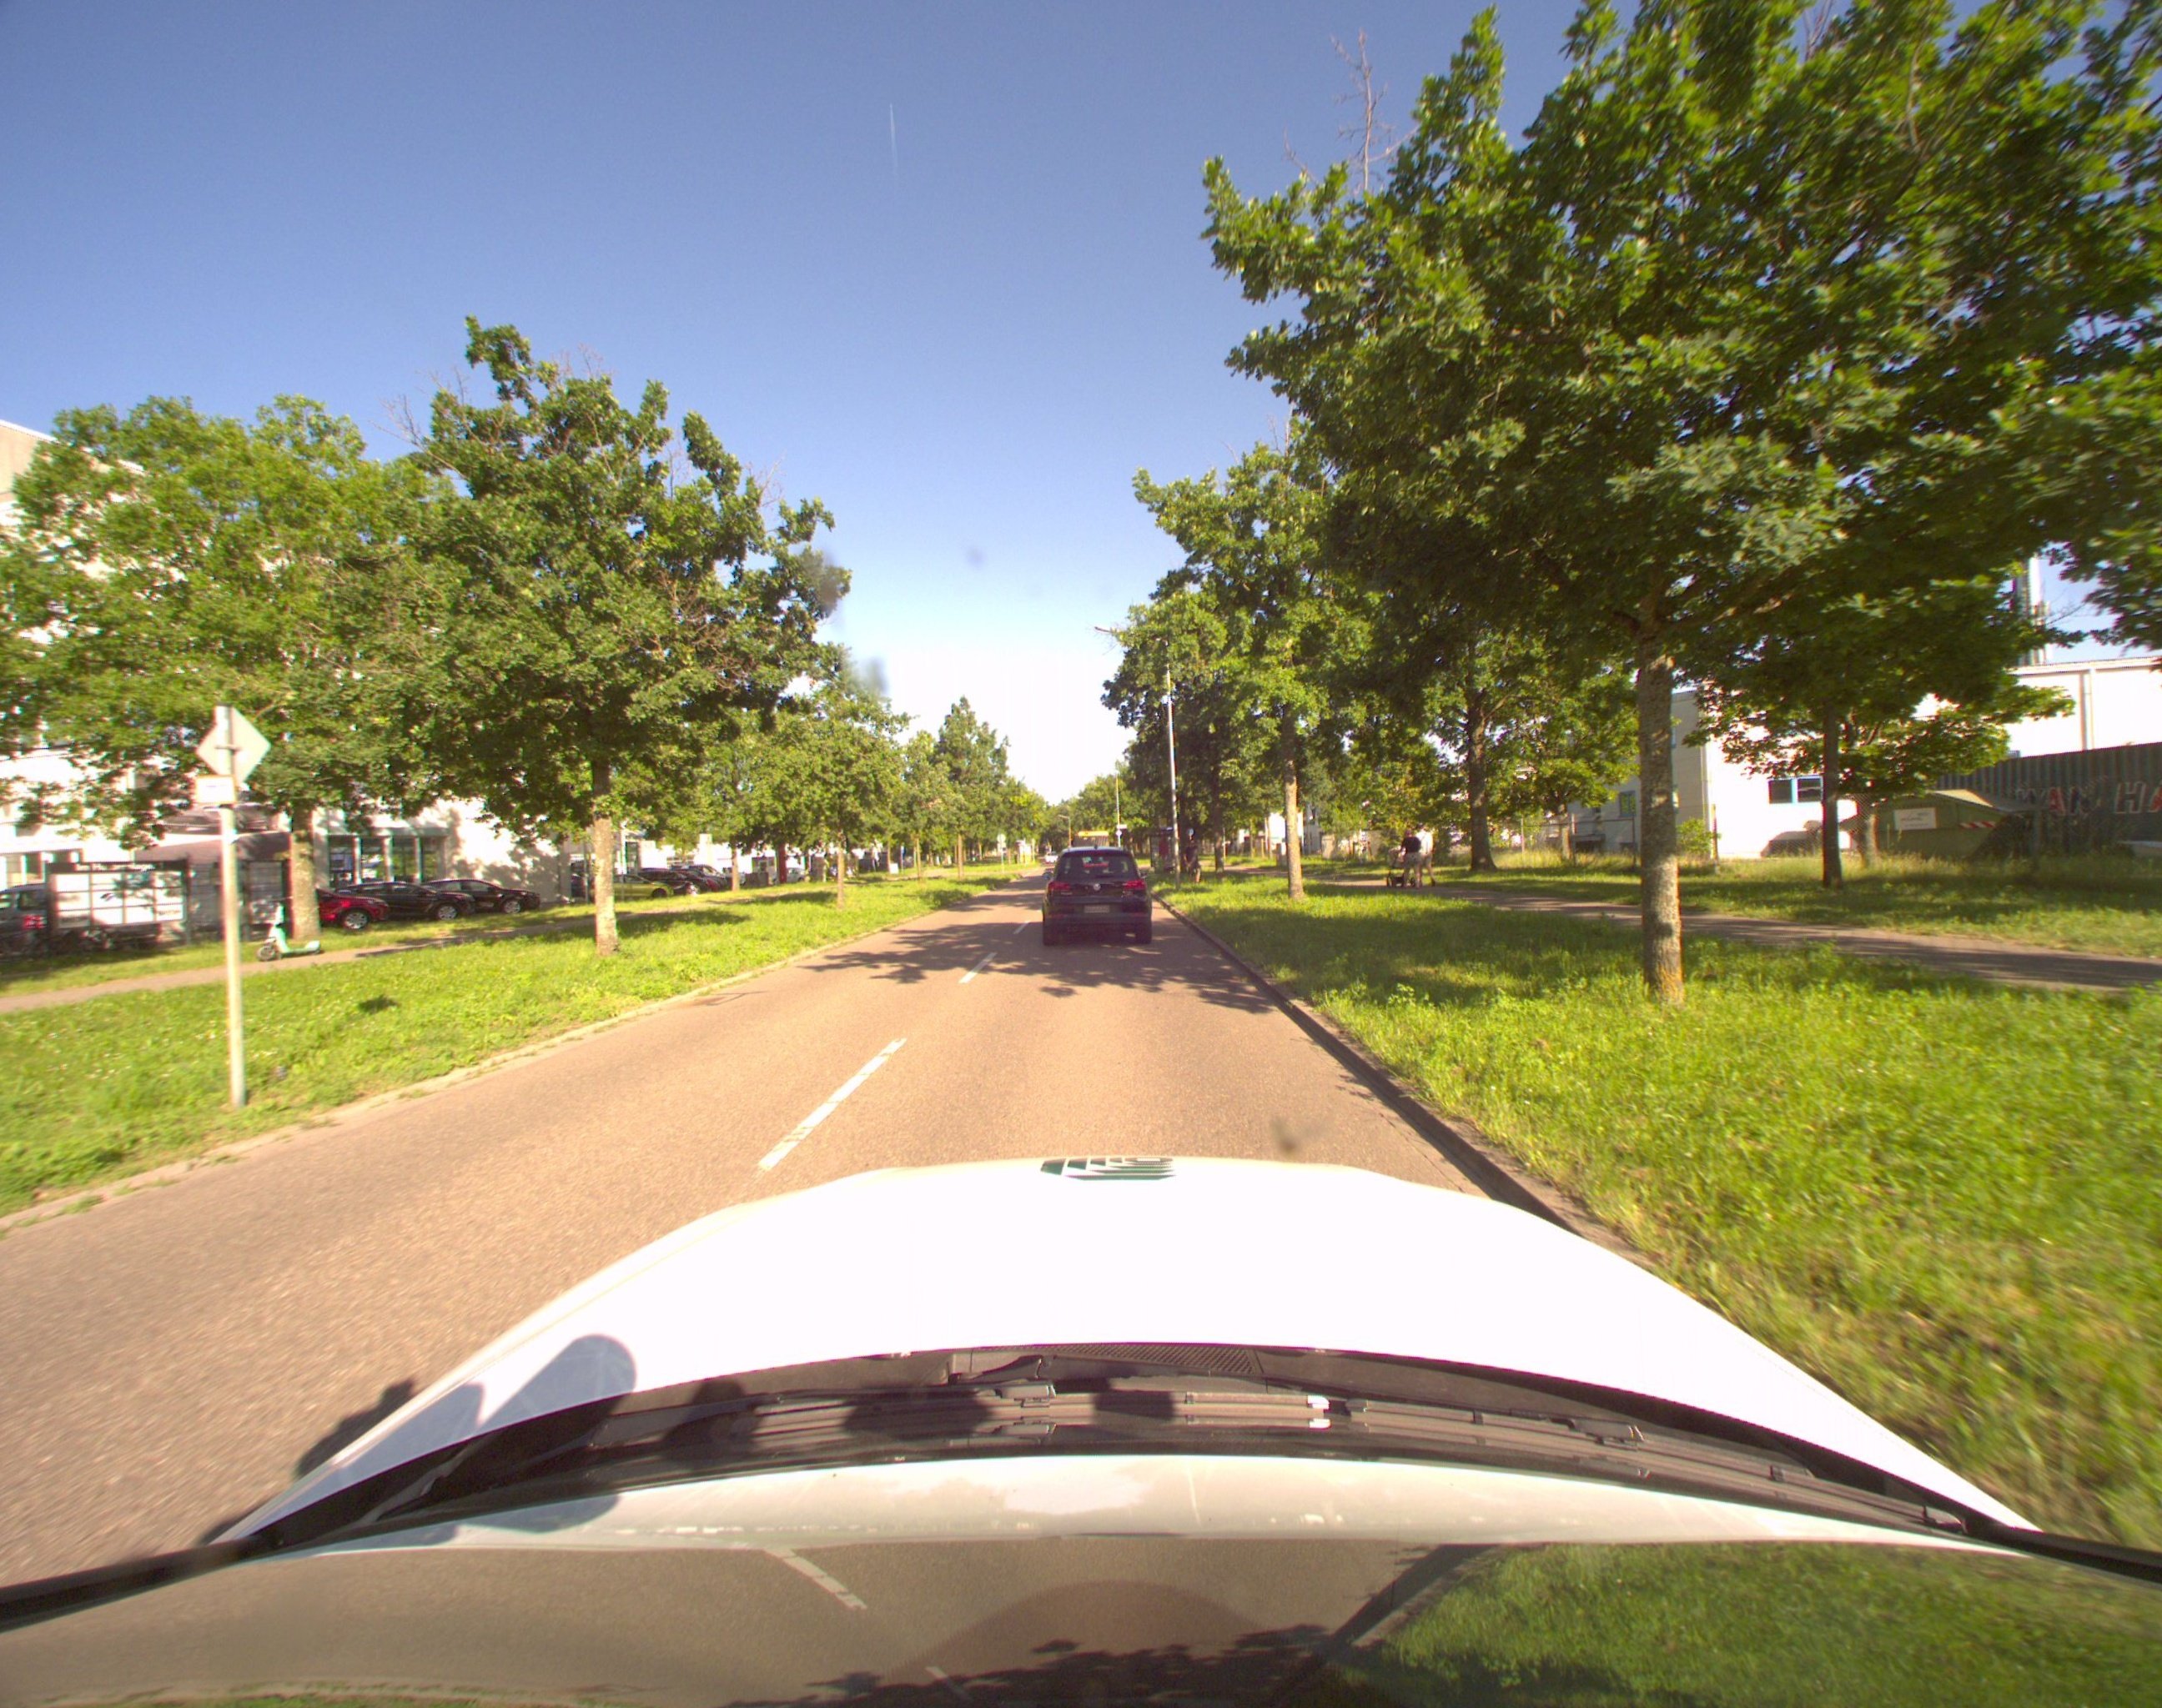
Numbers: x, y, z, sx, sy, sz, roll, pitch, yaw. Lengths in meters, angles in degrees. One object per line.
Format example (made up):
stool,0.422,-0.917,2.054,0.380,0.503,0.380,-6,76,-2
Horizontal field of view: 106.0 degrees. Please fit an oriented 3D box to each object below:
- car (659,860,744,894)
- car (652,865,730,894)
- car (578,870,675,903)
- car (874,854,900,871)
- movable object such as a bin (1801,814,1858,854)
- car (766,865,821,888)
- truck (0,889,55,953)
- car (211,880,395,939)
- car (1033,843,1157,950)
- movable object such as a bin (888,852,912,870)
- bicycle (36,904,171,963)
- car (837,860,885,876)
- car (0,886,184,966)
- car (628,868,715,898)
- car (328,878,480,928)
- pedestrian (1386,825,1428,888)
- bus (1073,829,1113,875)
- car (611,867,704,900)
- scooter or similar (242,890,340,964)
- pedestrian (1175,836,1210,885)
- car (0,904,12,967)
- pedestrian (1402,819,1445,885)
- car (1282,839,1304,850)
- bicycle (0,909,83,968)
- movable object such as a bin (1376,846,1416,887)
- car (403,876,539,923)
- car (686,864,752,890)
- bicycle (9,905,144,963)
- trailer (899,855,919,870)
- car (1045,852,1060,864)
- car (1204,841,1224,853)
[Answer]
car,-26.094,1.531,56.018,4.885,2.013,1.976,-3,0,-41
car,-24.470,1.591,51.094,4.184,1.562,1.980,-3,0,-31
car,-23.042,1.621,41.344,3.975,1.401,1.976,-3,0,-41
car,-24.487,1.056,103.085,2.030,1.988,5.802,-3,0,-2
movable object such as a bin,28.039,-0.737,30.531,1.175,1.406,1.064,-3,0,18
car,-23.741,1.848,67.273,3.714,1.618,1.972,-3,0,15
truck,-30.695,1.817,21.947,4.581,1.624,2.097,-1,1,15
car,-24.242,1.675,25.487,1.778,1.448,4.024,-3,0,43
car,0.263,0.640,15.075,1.929,1.656,4.428,-1,1,1
movable object such as a bin,-24.268,0.961,109.216,2.096,2.217,4.459,-3,0,-1
bicycle,-21.621,1.737,18.081,0.637,1.087,1.891,-3,0,1
car,-23.513,1.506,87.201,4.479,1.479,1.944,-3,0,5
car,-25.721,1.788,20.759,3.990,1.783,2.032,-1,0,12
car,-23.919,1.654,47.642,4.190,1.491,1.977,-3,0,-38
car,-24.130,1.699,29.130,4.022,1.448,1.779,-3,0,-42
pedestrian,8.741,0.065,21.869,0.723,1.603,0.868,-3,0,1
bus,0.877,-0.201,69.078,2.757,3.456,11.202,-3,0,-2
car,-23.130,1.573,44.551,4.192,1.538,1.874,-3,0,-41
scooter or similar,-15.321,1.385,15.838,0.393,1.279,1.442,-3,0,2
pedestrian,3.897,0.233,28.629,1.016,1.651,1.100,-3,0,1
car,-26.240,1.967,17.217,1.787,1.448,4.005,-3,0,4
pedestrian,9.501,-0.048,22.626,0.723,1.755,0.868,-4,0,1
car,29.066,-1.329,111.815,1.762,1.383,3.762,-3,0,-4
bicycle,-21.963,1.749,16.677,0.637,1.087,1.891,-3,0,1
movable object such as a bin,8.798,0.346,22.747,0.723,1.081,0.868,-4,0,1
car,-24.070,1.750,32.314,4.010,1.511,1.785,-3,1,-28
car,-30.555,1.934,68.767,4.971,1.906,1.950,-3,0,17
bicycle,-22.606,1.775,18.396,0.637,1.087,1.891,-3,0,1
trailer,-24.566,1.214,116.342,2.096,1.914,3.739,-3,0,-1
car,-3.667,0.493,103.133,1.740,1.464,4.422,-3,1,-3
car,21.708,-1.164,133.118,2.180,1.744,4.635,-3,0,-4
